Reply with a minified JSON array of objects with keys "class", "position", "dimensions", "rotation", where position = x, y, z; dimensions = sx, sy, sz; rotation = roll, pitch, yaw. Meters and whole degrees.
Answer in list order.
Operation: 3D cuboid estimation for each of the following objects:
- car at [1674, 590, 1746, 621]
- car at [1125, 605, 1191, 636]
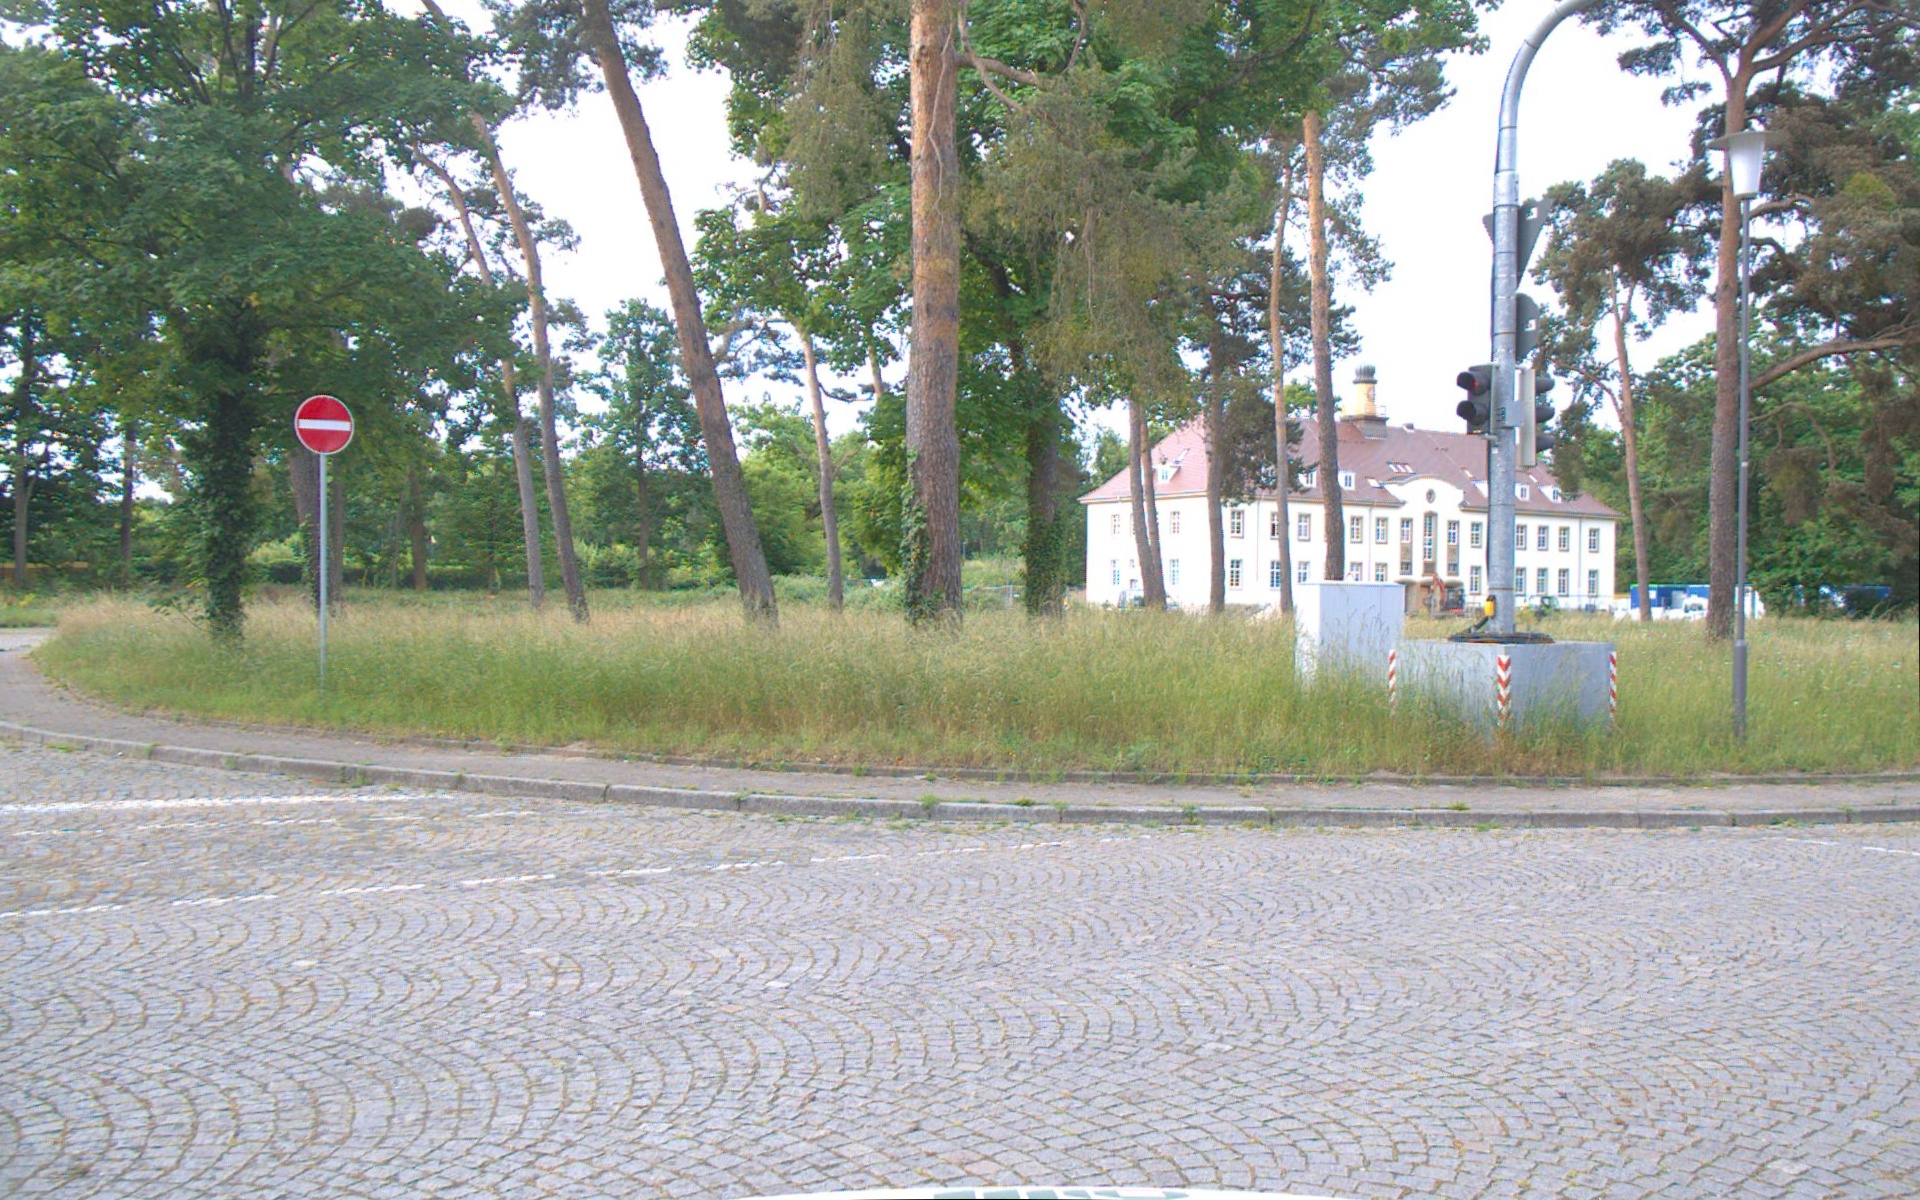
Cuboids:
[{"class":"car","position":[52.960,0.393,116.695],"dimensions":[5.156,2.049,1.981],"rotation":[1,-1,-29]},{"class":"car","position":[14.746,1.524,123.684],"dimensions":[1.980,2.238,4.969],"rotation":[0,0,-38]}]
